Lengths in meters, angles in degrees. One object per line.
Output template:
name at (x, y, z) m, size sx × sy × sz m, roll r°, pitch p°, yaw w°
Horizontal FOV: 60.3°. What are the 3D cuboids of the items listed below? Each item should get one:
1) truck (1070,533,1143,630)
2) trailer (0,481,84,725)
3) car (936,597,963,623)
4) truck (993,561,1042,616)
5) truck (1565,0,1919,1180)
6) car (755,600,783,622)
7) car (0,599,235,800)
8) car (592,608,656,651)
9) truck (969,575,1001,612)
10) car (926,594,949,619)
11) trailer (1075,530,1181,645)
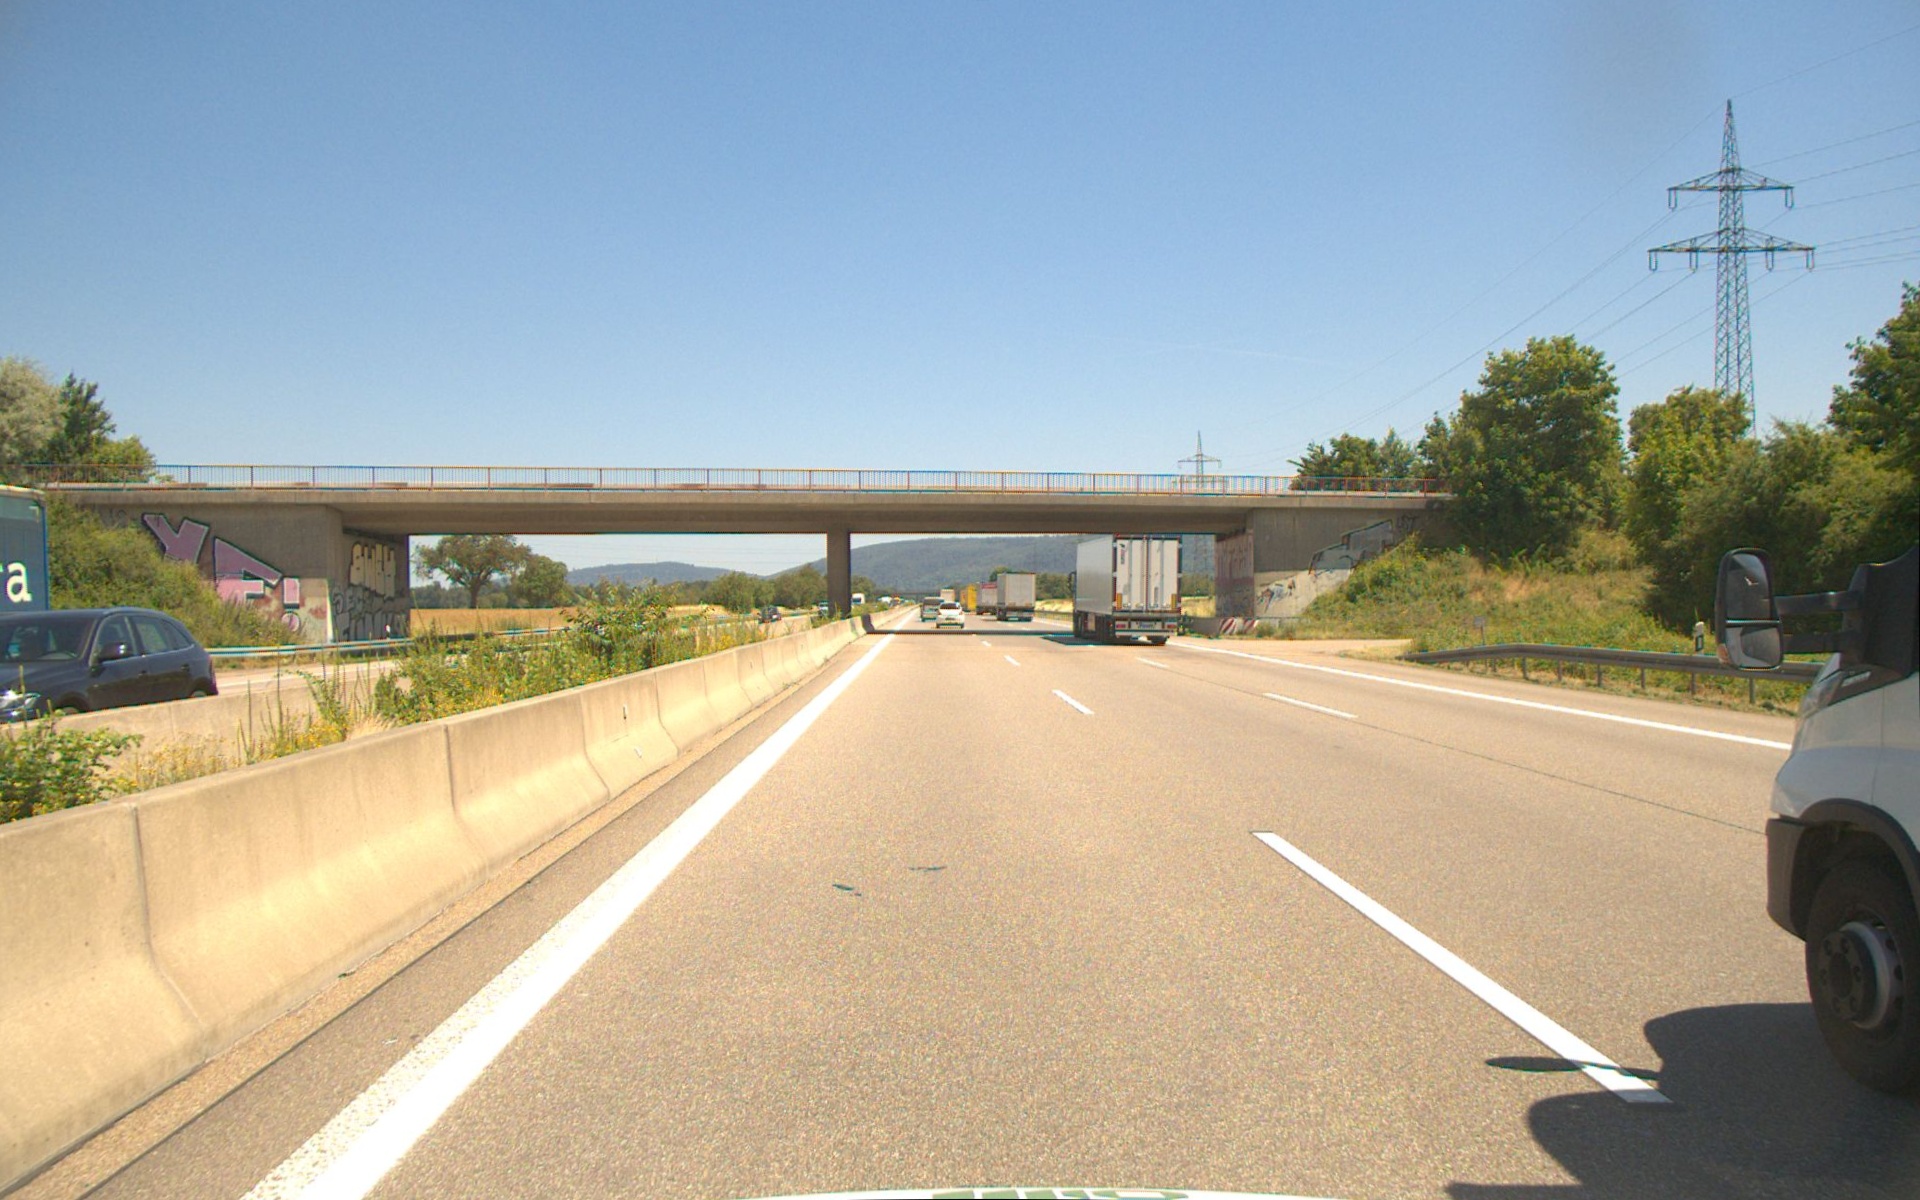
truck at (6.604, -0.801, 75.230) m, size 2.738 × 4.236 × 5.721 m, roll 0°, pitch 0°, yaw -1°
trailer at (-17.084, 0.110, 23.125) m, size 2.777 × 4.007 × 13.218 m, roll -2°, pitch 0°, yaw -1°
car at (-0.605, 0.596, 98.303) m, size 1.574 × 1.493 × 4.000 m, roll 0°, pitch 0°, yaw 0°
truck at (4.916, -0.992, 144.457) m, size 3.449 × 4.493 × 14.587 m, roll -1°, pitch 0°, yaw -1°
truck at (3.924, -0.202, 2.636) m, size 2.726 × 3.432 × 8.124 m, roll 0°, pitch 0°, yaw -2°
car at (-15.300, 0.860, 132.742) m, size 1.769 × 1.702 × 3.999 m, roll -1°, pitch 0°, yaw -1°
car at (-9.183, 0.906, 16.734) m, size 1.869 × 1.768 × 4.121 m, roll -2°, pitch 0°, yaw -1°
car at (-13.574, 1.152, 67.015) m, size 1.770 × 1.571 × 3.876 m, roll -3°, pitch 0°, yaw -1°
truck at (3.162, -0.760, 211.286) m, size 3.449 × 4.493 × 14.587 m, roll -1°, pitch 0°, yaw -1°
car at (-1.777, 0.494, 129.492) m, size 1.725 × 1.883 × 4.000 m, roll 0°, pitch 0°, yaw 0°
trailer at (6.720, -0.493, 68.207) m, size 2.738 × 4.236 × 13.953 m, roll 0°, pitch 0°, yaw -1°
